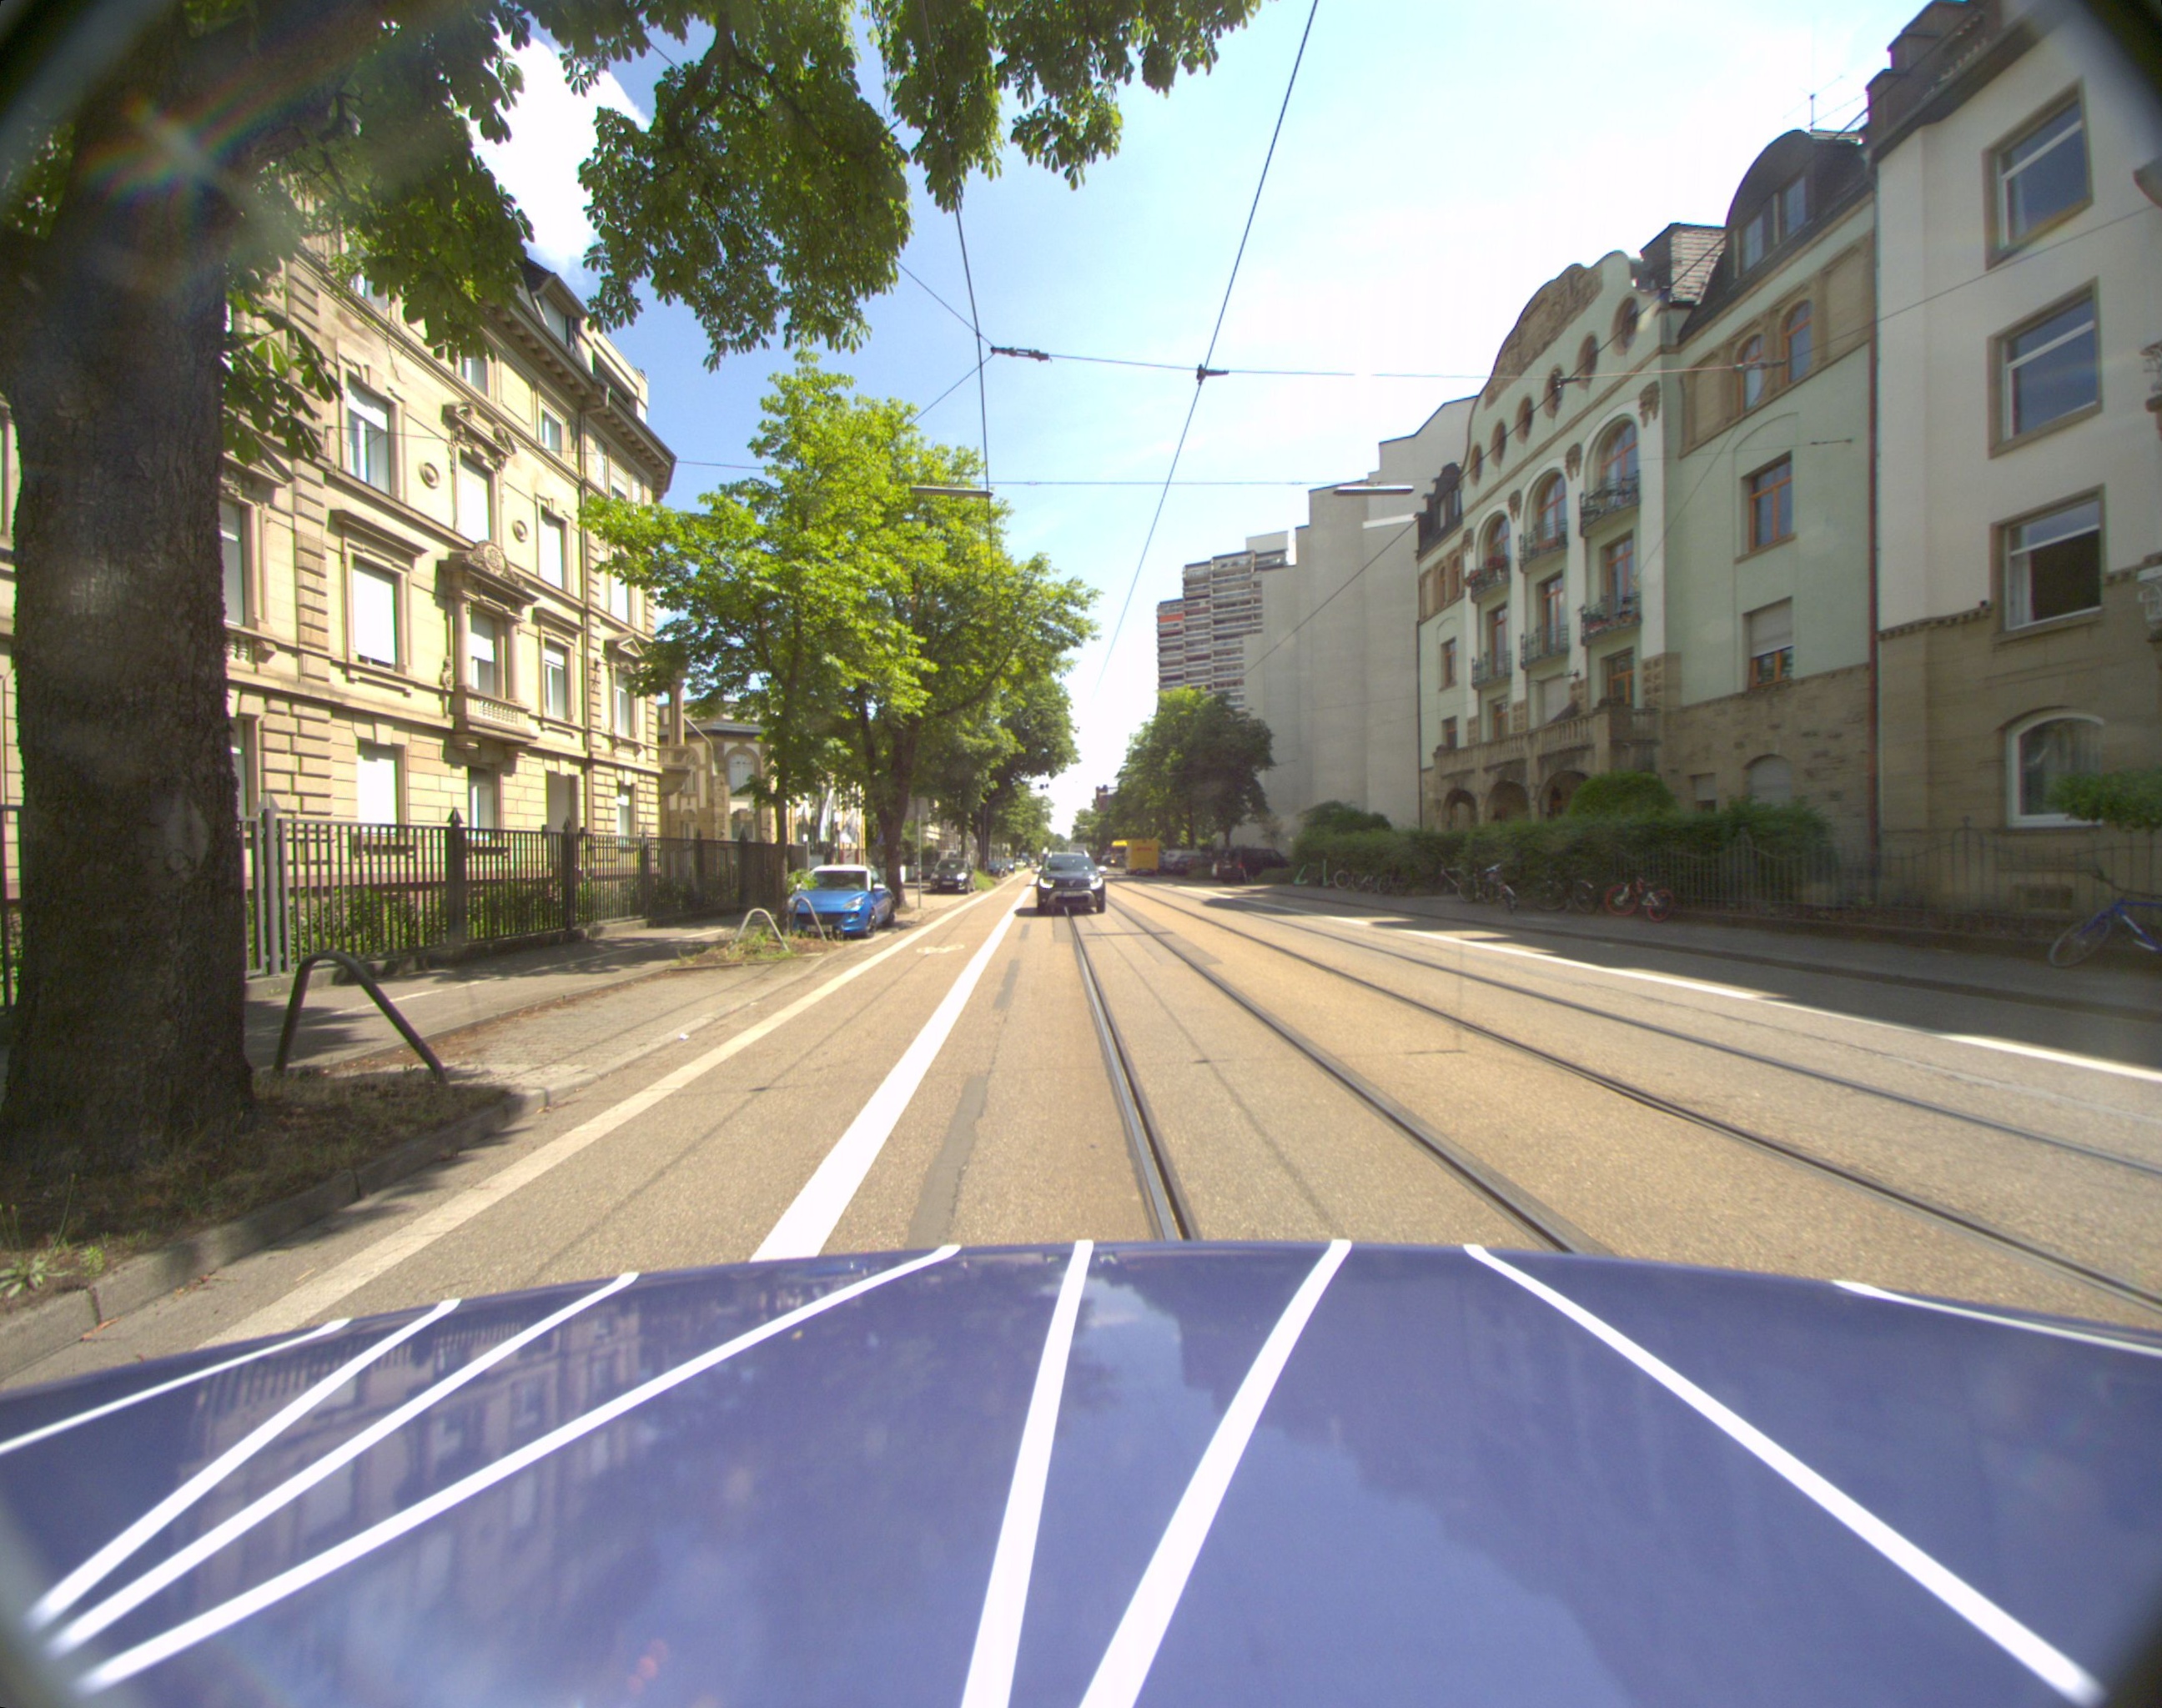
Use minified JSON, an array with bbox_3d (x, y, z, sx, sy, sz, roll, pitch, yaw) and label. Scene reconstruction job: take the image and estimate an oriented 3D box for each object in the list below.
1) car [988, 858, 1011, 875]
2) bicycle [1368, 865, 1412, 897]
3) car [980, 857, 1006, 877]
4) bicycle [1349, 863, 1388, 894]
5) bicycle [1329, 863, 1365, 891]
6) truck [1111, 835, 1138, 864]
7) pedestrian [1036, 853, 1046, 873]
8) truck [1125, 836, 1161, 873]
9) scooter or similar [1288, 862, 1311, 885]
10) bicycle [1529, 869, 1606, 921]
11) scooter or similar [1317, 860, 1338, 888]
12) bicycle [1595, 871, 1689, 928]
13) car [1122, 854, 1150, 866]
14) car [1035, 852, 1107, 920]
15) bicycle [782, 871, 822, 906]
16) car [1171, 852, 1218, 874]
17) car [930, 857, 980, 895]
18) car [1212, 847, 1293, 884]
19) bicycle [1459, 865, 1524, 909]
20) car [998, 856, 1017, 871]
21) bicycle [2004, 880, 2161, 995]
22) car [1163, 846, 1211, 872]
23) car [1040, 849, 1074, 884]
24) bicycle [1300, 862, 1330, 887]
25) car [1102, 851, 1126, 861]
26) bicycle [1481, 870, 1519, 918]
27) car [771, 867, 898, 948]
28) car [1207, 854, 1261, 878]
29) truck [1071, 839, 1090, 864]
[{"bbox_3d":[-6.854,1.028,63.970,1.626,1.395,3.999,1,0,-2],"label":"car"},{"bbox_3d":[10.169,0.877,25.088,0.609,0.970,1.771,-5,0,-3],"label":"bicycle"},{"bbox_3d":[-6.631,0.984,57.237,1.626,1.395,3.822,1,0,-2],"label":"car"},{"bbox_3d":[10.186,0.855,26.991,0.609,0.983,1.707,-5,0,-3],"label":"bicycle"},{"bbox_3d":[10.147,0.851,29.041,0.609,0.983,1.707,-5,0,-3],"label":"bicycle"},{"bbox_3d":[6.803,-0.665,116.874,2.672,4.155,10.482,-1,0,11],"label":"truck"},{"bbox_3d":[-3.601,0.806,68.666,0.645,1.839,0.741,-1,1,15],"label":"pedestrian"},{"bbox_3d":[4.970,0.037,62.202,2.307,2.903,6.514,-1,0,-1],"label":"truck"},{"bbox_3d":[9.824,0.883,34.186,0.407,1.014,1.222,-1,0,-18],"label":"scooter or similar"},{"bbox_3d":[10.479,0.850,16.425,0.465,0.993,1.707,-4,0,-2],"label":"bicycle"},{"bbox_3d":[10.009,0.807,30.854,0.407,1.113,1.291,-1,0,0],"label":"scooter or similar"},{"bbox_3d":[10.722,0.836,14.598,0.414,0.960,1.725,-4,0,-2],"label":"bicycle"},{"bbox_3d":[7.083,0.732,97.835,1.678,1.445,3.682,0,0,42],"label":"car"},{"bbox_3d":[-0.320,0.788,21.008,1.753,1.641,4.297,-1,0,-2],"label":"car"},{"bbox_3d":[-9.244,1.130,25.237,0.609,1.065,1.980,-1,0,0],"label":"bicycle"},{"bbox_3d":[8.694,0.672,58.160,3.692,1.566,1.678,-1,1,-45],"label":"car"},{"bbox_3d":[-5.768,0.951,35.209,1.734,1.606,4.083,1,0,-2],"label":"car"},{"bbox_3d":[9.506,0.571,41.923,4.595,1.914,1.957,-1,0,-39],"label":"car"},{"bbox_3d":[10.580,0.824,19.656,0.609,1.026,1.771,-5,0,-3],"label":"bicycle"},{"bbox_3d":[-7.392,0.949,76.336,1.626,1.395,3.999,1,0,-2],"label":"car"},{"bbox_3d":[10.940,0.846,7.824,0.609,1.058,1.771,-5,0,-3],"label":"bicycle"},{"bbox_3d":[8.642,0.381,61.582,4.061,2.030,1.598,-1,0,-43],"label":"car"},{"bbox_3d":[-1.343,0.689,43.118,1.753,1.806,4.307,-3,0,-1],"label":"car"},{"bbox_3d":[9.975,0.873,32.450,0.609,0.983,1.707,-5,0,-3],"label":"bicycle"},{"bbox_3d":[6.458,0.365,146.861,4.338,1.797,1.995,-1,0,-35],"label":"car"},{"bbox_3d":[9.612,0.888,17.406,0.608,0.993,1.778,0,0,33],"label":"bicycle"},{"bbox_3d":[-5.112,1.053,16.210,1.696,1.444,3.473,-1,0,-3],"label":"car"},{"bbox_3d":[9.825,0.730,48.662,1.721,1.445,3.635,0,0,42],"label":"car"},{"bbox_3d":[-0.047,-0.347,115.640,2.792,3.598,8.255,-1,0,0],"label":"truck"}]
